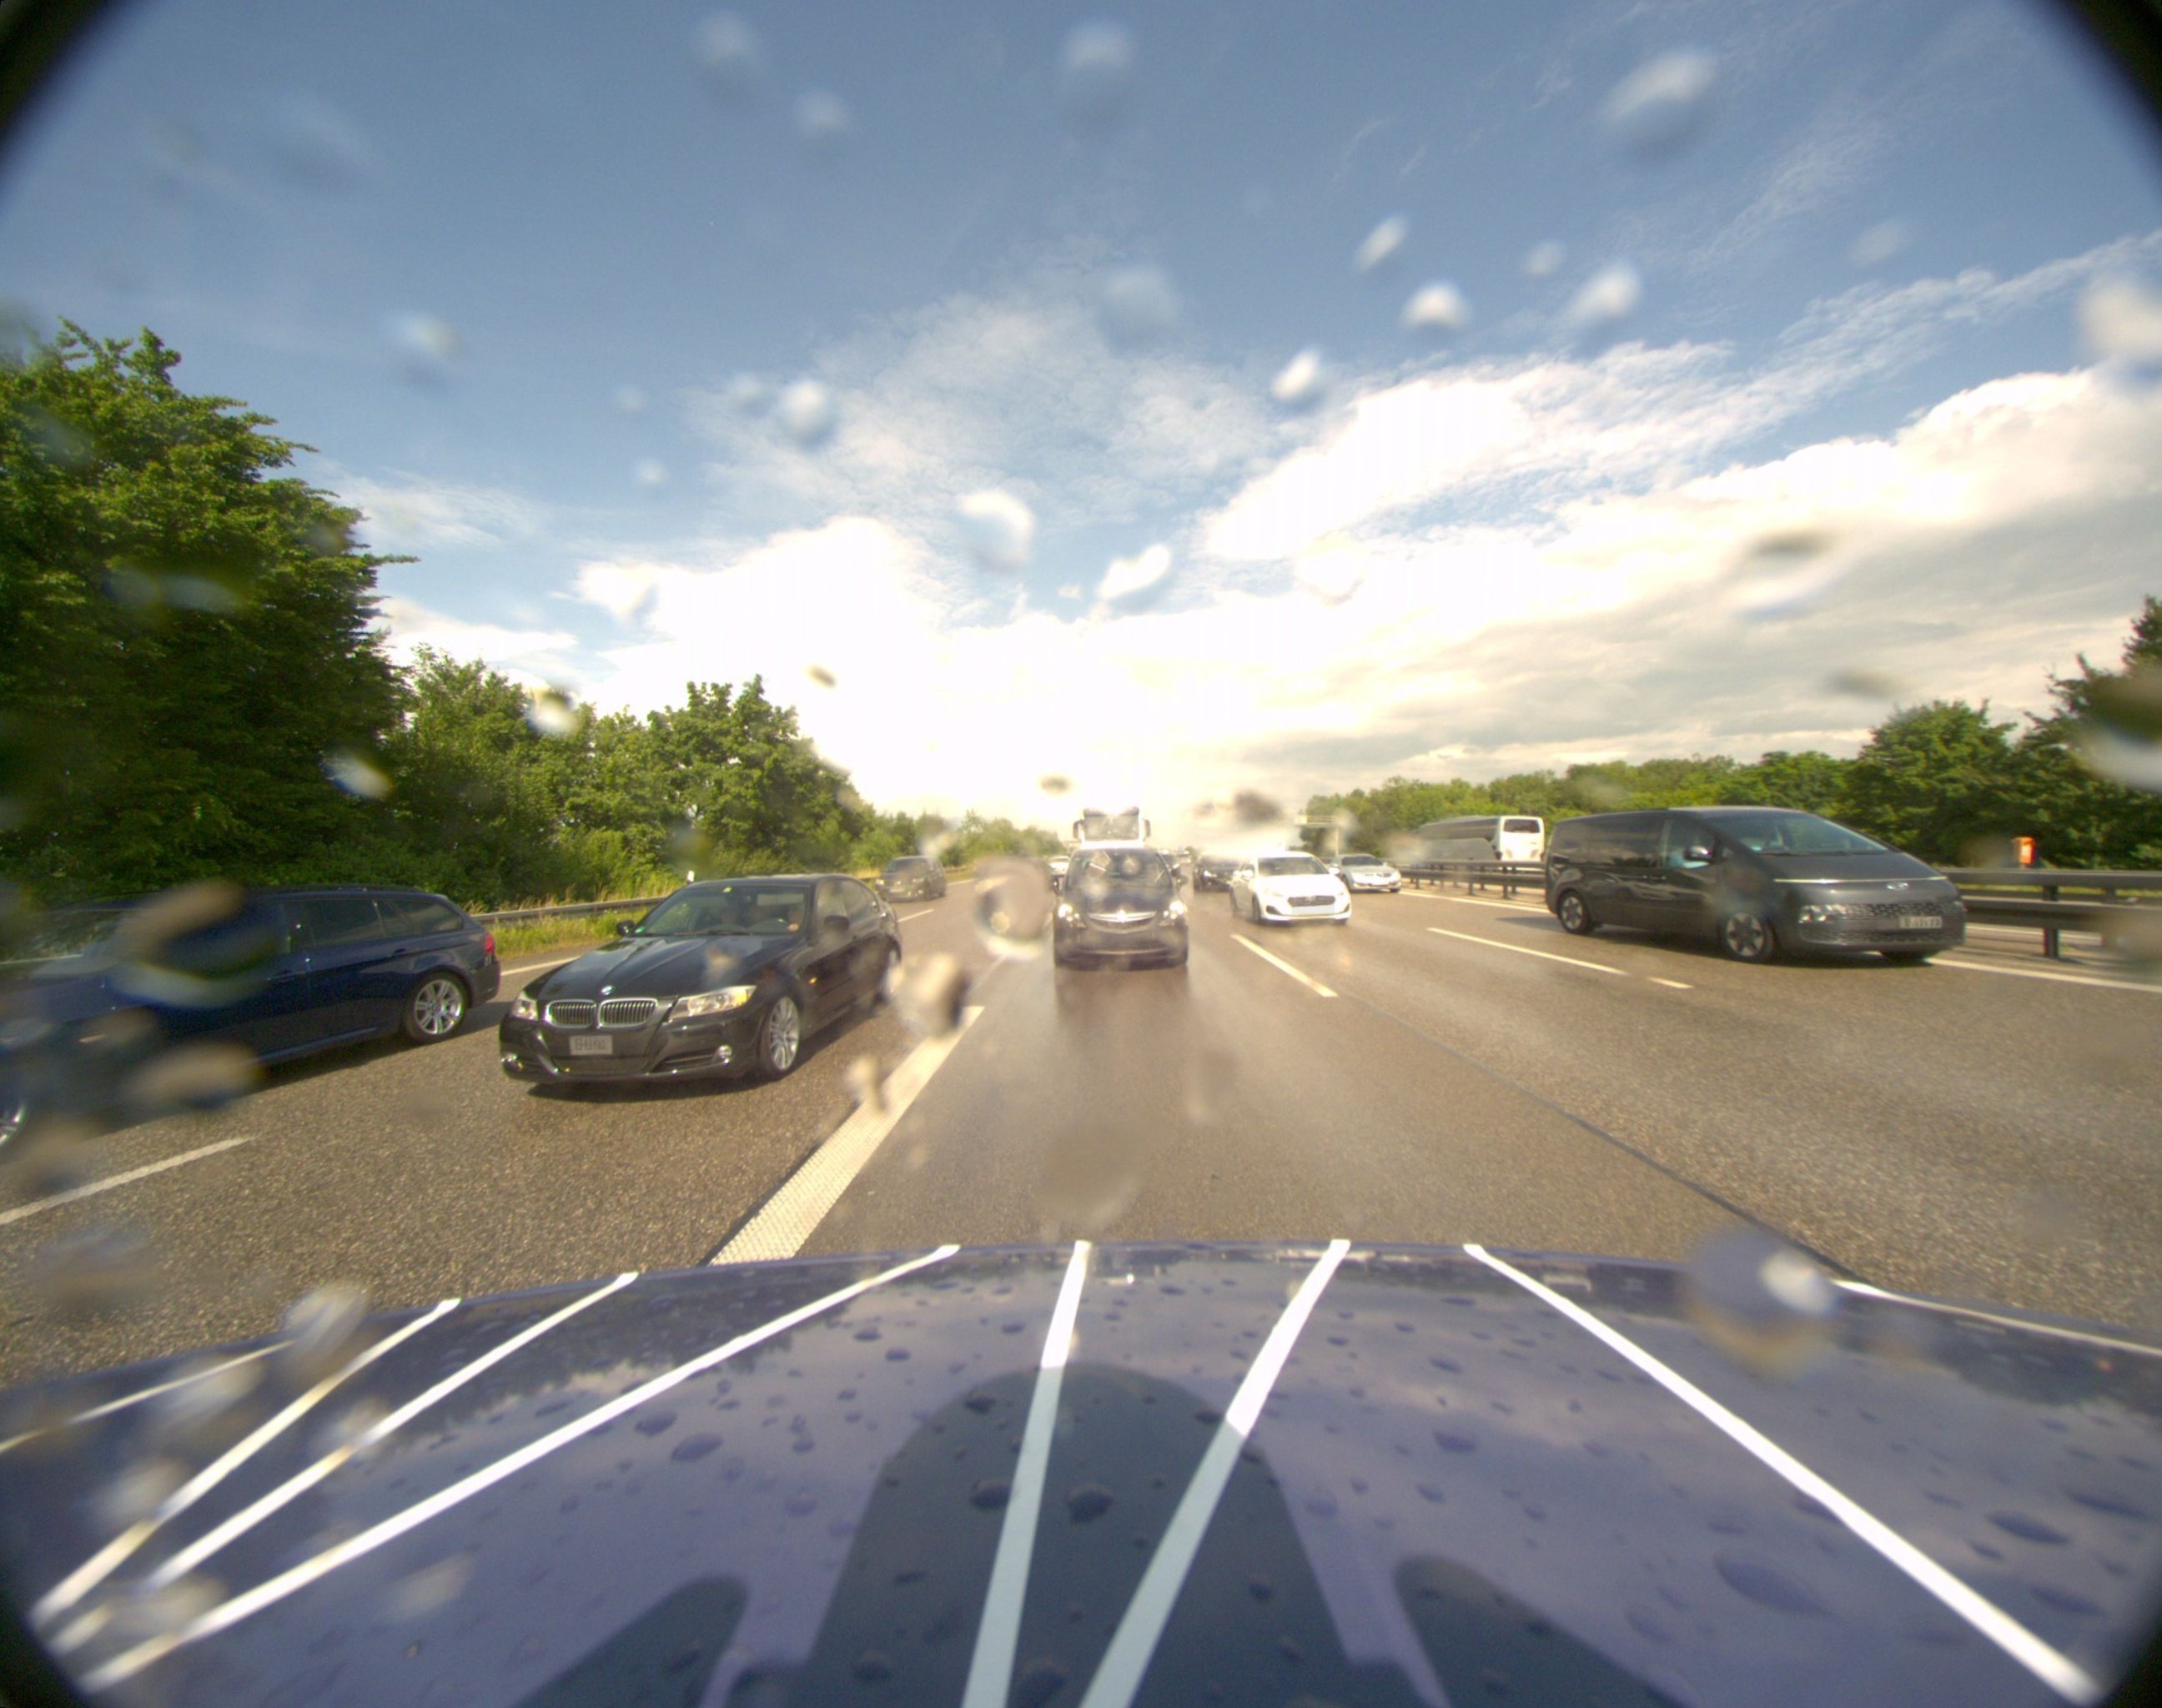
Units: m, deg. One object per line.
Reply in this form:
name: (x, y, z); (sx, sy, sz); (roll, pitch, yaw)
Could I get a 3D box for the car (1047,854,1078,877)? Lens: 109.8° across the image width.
car: (-1.251, 0.753, 53.198); (1.831, 1.417, 4.511); (-2, 1, 2)

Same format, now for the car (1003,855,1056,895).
car: (-2.050, 0.805, 31.343); (1.853, 1.455, 4.255); (-1, 1, 1)

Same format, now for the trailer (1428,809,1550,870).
trailer: (25.014, -0.838, 47.322); (2.736, 3.362, 9.562); (-1, 0, 2)

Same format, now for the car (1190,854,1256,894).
car: (5.248, 0.697, 28.580); (1.729, 1.330, 4.287); (-1, 0, 1)

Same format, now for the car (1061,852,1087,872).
car: (-0.514, 0.637, 62.520); (1.998, 1.572, 4.653); (-1, 0, 1)

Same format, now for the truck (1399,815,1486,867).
truck: (25.256, -0.868, 53.562); (2.736, 3.362, 7.593); (-1, 0, 2)

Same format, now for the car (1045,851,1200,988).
car: (0.540, 0.805, 11.609); (1.883, 1.638, 4.396); (-1, 0, 1)

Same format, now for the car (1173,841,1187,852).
car: (18.000, -1.356, 138.284); (1.998, 1.768, 4.461); (-2, 0, 1)

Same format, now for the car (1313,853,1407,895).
car: (9.374, 0.624, 25.874); (1.729, 1.270, 4.063); (-1, 0, 1)

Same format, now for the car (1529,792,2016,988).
car: (8.756, 0.360, 10.543); (1.998, 2.002, 5.269); (-1, 0, 1)

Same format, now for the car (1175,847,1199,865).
car: (11.659, 0.182, 83.811); (1.998, 1.739, 3.999); (-3, 1, 0)

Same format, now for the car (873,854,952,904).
car: (-6.049, 0.848, 27.761); (1.792, 1.603, 4.385); (-1, 0, 1)

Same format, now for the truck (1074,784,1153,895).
truck: (1.375, -0.579, 32.347); (2.817, 4.083, 7.445); (-2, 1, 2)

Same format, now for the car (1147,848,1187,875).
car: (5.285, 0.443, 47.330); (1.998, 1.478, 3.999); (-3, 1, 0)

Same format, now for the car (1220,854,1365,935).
car: (4.353, 0.749, 16.421); (1.886, 1.446, 4.548); (-1, 0, 1)

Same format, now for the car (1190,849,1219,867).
car: (10.309, 0.340, 63.491); (1.771, 1.371, 3.999); (-1, 1, 0)

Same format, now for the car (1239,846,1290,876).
car: (9.510, 0.344, 39.676); (1.771, 1.417, 4.138); (-2, 1, 2)

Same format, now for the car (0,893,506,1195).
car: (-6.567, 1.117, 5.263); (1.775, 1.393, 4.289); (-2, 0, 2)

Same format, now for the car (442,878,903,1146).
car: (-2.872, 1.000, 6.425); (1.744, 1.412, 3.835); (-1, 0, 1)

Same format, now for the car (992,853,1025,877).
car: (-5.145, 0.754, 54.256); (1.853, 1.559, 3.999); (-1, 1, 1)

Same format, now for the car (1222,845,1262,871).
car: (10.745, 0.226, 51.099); (1.875, 1.597, 4.228); (-2, 1, 2)
